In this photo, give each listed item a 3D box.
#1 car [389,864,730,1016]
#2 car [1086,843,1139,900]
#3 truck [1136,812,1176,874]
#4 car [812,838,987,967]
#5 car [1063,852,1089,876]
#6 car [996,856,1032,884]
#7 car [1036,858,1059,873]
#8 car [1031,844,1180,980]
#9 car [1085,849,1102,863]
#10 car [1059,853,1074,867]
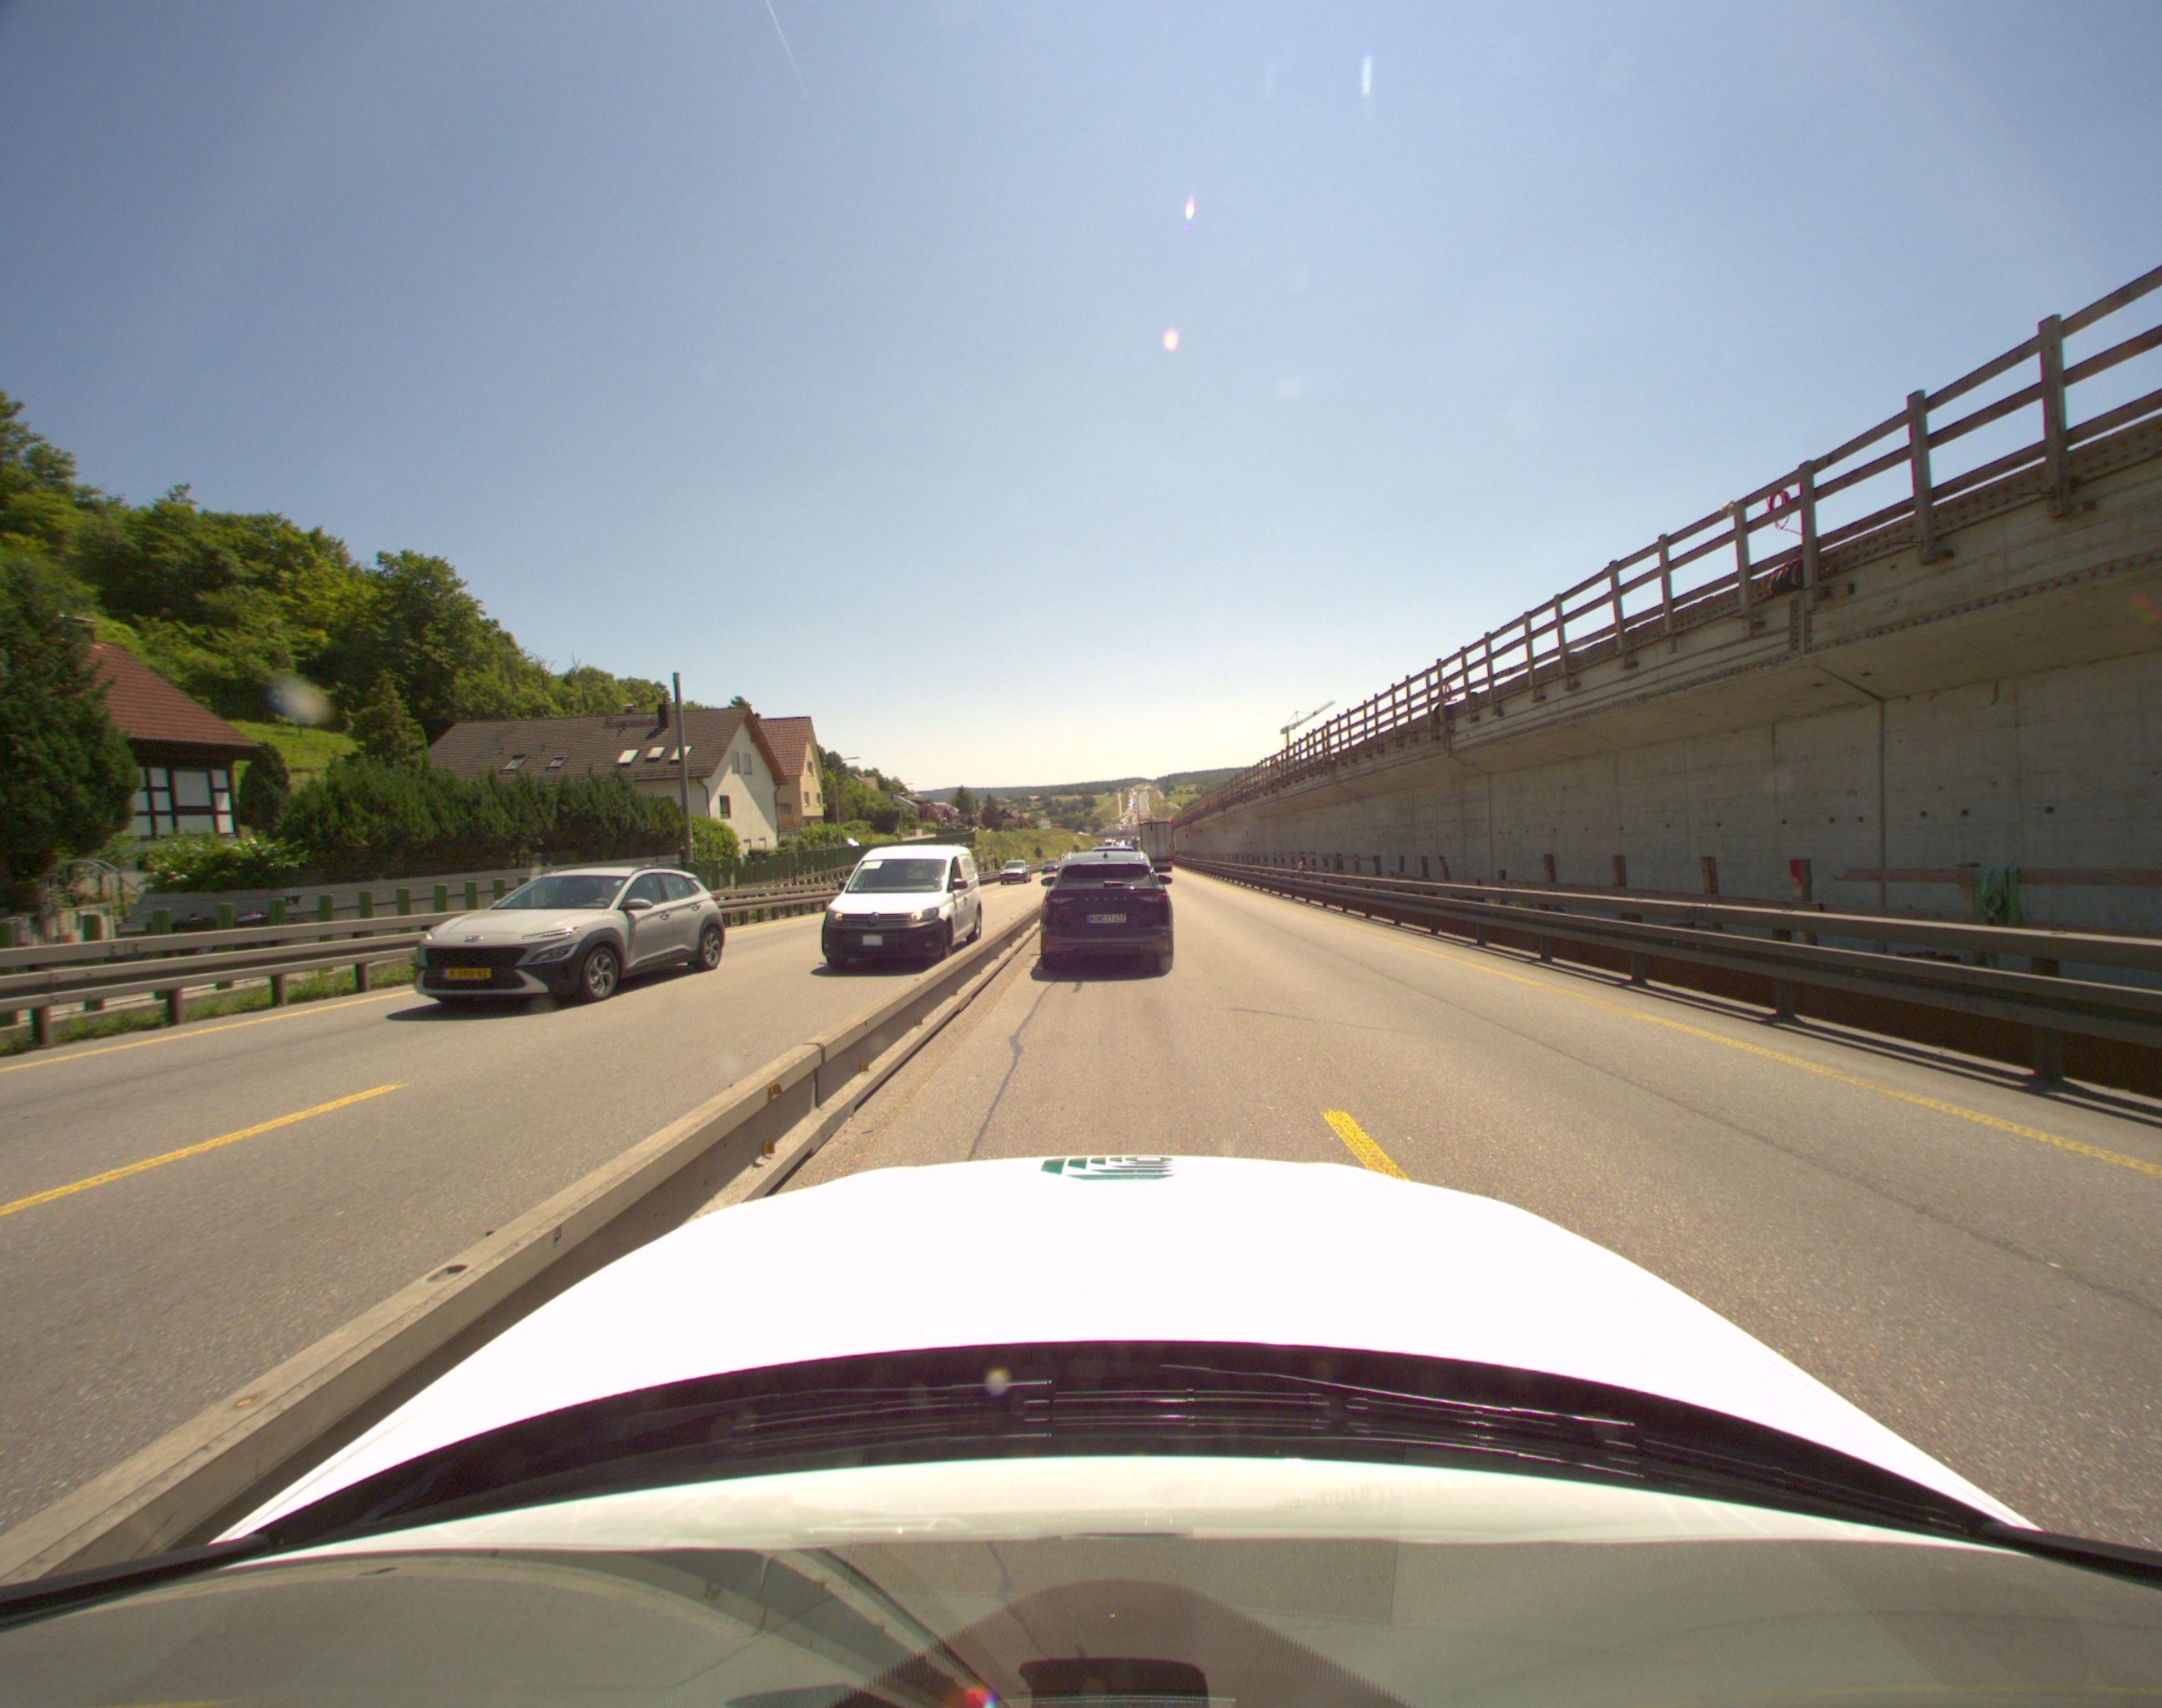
[{"bbox_3d":[-6.224,0.910,10.368,1.696,1.479,3.975,-2,0,1],"label":"car"},{"bbox_3d":[1.124,0.617,29.711,1.743,1.895,3.756,-2,0,1],"label":"car"},{"bbox_3d":[6.209,-0.796,68.788,2.833,4.615,11.823,-3,-1,4],"label":"truck"},{"bbox_3d":[-2.779,0.682,13.483,1.803,1.740,4.258,-2,0,1],"label":"car"},{"bbox_3d":[-0.449,0.915,74.385,1.985,2.014,4.972,-3,-1,3],"label":"car"},{"bbox_3d":[-4.643,1.097,57.307,1.986,1.827,4.510,0,-1,2],"label":"car"},{"bbox_3d":[-3.415,1.153,83.680,1.986,1.442,4.366,0,-1,2],"label":"car"},{"bbox_3d":[0.384,0.739,12.142,1.776,1.597,3.757,-4,0,2],"label":"car"},{"bbox_3d":[1.804,0.370,117.688,2.149,1.906,5.329,-2,-1,2],"label":"car"},{"bbox_3d":[-2.000,0.813,111.376,1.821,1.926,5.237,-2,0,-3],"label":"car"}]
